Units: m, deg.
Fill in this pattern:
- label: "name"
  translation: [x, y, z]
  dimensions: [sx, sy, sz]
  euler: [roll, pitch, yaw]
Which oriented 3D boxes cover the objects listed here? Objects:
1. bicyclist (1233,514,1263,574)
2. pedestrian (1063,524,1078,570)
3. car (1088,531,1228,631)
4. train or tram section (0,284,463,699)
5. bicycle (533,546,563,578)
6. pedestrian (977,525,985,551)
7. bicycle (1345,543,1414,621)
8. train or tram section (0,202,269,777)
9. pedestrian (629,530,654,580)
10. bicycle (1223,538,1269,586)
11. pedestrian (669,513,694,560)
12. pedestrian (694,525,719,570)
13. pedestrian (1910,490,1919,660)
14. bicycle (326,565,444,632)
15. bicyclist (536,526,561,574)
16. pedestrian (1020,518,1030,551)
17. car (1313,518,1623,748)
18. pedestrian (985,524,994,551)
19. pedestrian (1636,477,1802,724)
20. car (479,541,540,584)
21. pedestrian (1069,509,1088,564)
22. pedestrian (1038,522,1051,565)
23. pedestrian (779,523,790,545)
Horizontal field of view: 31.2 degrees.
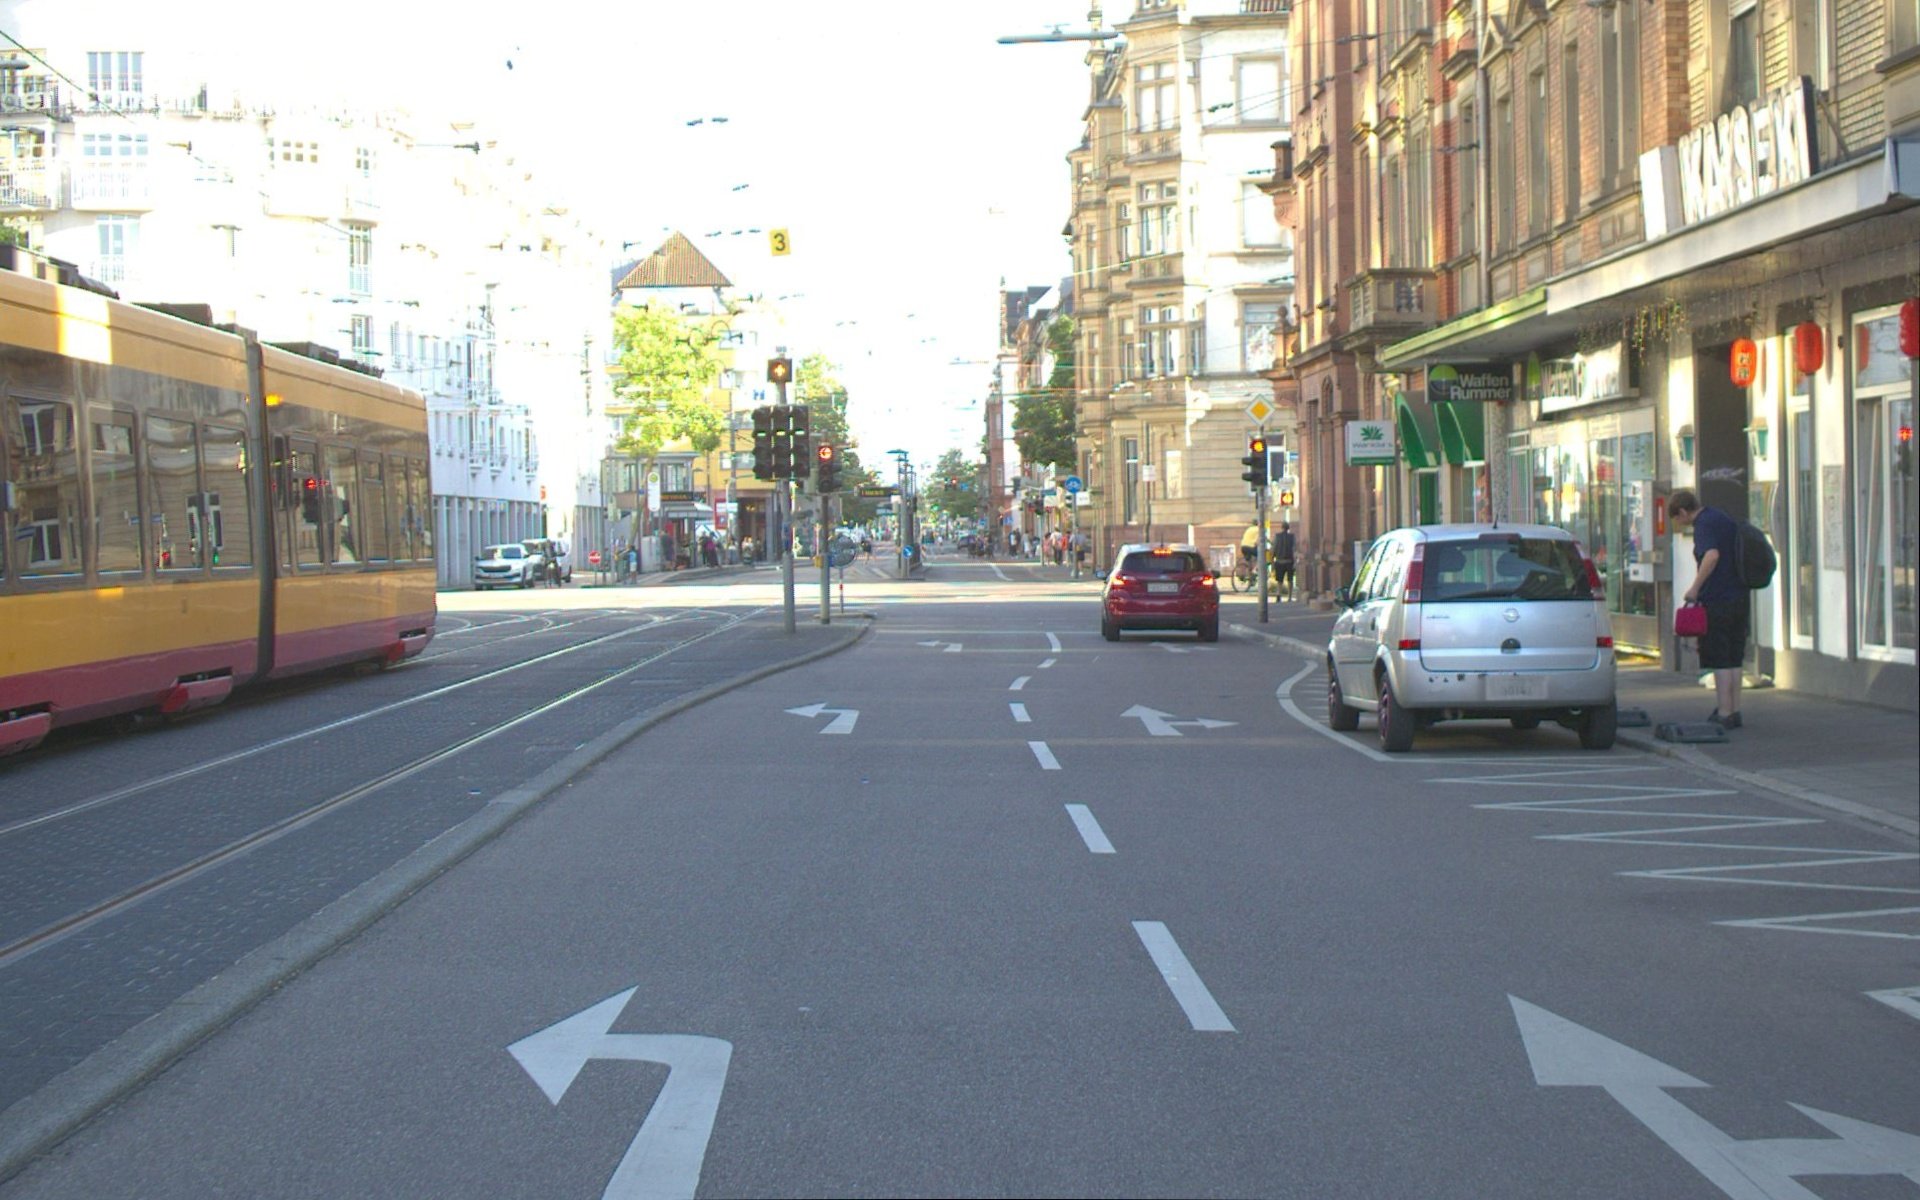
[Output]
- label: "bicyclist"
  translation: [6.873, -1.343, 82.052]
  dimensions: [0.422, 1.404, 0.657]
  euler: [0, 1, 35]
- label: "pedestrian"
  translation: [4.869, -2.355, 151.842]
  dimensions: [0.646, 2.007, 0.683]
  euler: [0, 1, 0]
- label: "car"
  translation: [2.990, -0.316, 52.553]
  dimensions: [1.754, 1.461, 3.946]
  euler: [1, 1, -2]
- label: "train or tram section"
  translation: [-7.446, -1.025, 36.149]
  dimensions: [2.675, 3.539, 12.842]
  euler: [-1, 1, -1]
- label: "bicycle"
  translation: [-14.871, -1.385, 124.169]
  dimensions: [0.807, 1.143, 2.050]
  euler: [-1, 1, 0]
- label: "pedestrian"
  translation: [1.514, -4.493, 250.716]
  dimensions: [0.577, 1.880, 0.669]
  euler: [-1, 1, 0]
- label: "bicycle"
  translation: [6.576, -0.288, 53.848]
  dimensions: [0.716, 1.148, 1.653]
  euler: [-2, 1, 18]
- label: "train or tram section"
  translation: [-7.282, -0.706, 24.161]
  dimensions: [2.675, 3.539, 11.127]
  euler: [-1, 1, -1]
- label: "pedestrian"
  translation: [-11.156, -1.583, 120.398]
  dimensions: [0.768, 1.724, 0.572]
  euler: [0, 1, 2]
- label: "bicycle"
  translation: [6.824, -0.905, 81.972]
  dimensions: [0.422, 1.092, 1.410]
  euler: [-1, 2, 35]
- label: "pedestrian"
  translation: [-12.012, -2.732, 148.111]
  dimensions: [0.956, 2.007, 1.049]
  euler: [-1, 1, 0]
- label: "pedestrian"
  translation: [-11.420, -2.365, 154.877]
  dimensions: [1.045, 2.007, 0.959]
  euler: [-1, 1, -2]
- label: "pedestrian"
  translation: [5.573, 0.258, 18.065]
  dimensions: [0.787, 1.732, 0.946]
  euler: [-4, 1, -1]
- label: "bicycle"
  translation: [-10.279, -0.036, 61.447]
  dimensions: [2.017, 1.173, 0.628]
  euler: [-1, 1, -14]
- label: "bicyclist"
  translation: [-14.879, -1.818, 124.352]
  dimensions: [0.807, 1.720, 0.794]
  euler: [-1, 1, 0]
- label: "pedestrian"
  translation: [3.913, -3.926, 206.767]
  dimensions: [0.577, 2.007, 0.631]
  euler: [-1, 1, 1]
- label: "car"
  translation: [3.766, 0.200, 26.070]
  dimensions: [1.637, 1.609, 3.946]
  euler: [0, 1, -2]
- label: "pedestrian"
  translation: [2.045, -4.403, 240.512]
  dimensions: [0.577, 1.880, 0.631]
  euler: [-1, 1, 1]
- label: "pedestrian"
  translation: [5.669, -0.006, 25.745]
  dimensions: [0.946, 1.786, 1.055]
  euler: [-2, 1, -1]
- label: "car"
  translation: [-16.726, -1.409, 127.722]
  dimensions: [1.765, 1.540, 3.461]
  euler: [-1, 1, 1]
- label: "pedestrian"
  translation: [4.359, -2.341, 126.828]
  dimensions: [0.651, 2.007, 0.760]
  euler: [-1, 1, -1]
- label: "pedestrian"
  translation: [4.042, -2.709, 164.529]
  dimensions: [0.577, 2.007, 0.630]
  euler: [-1, 1, 6]
- label: "pedestrian"
  translation: [-12.494, -4.689, 244.417]
  dimensions: [0.628, 1.599, 0.579]
  euler: [-1, 1, -16]
